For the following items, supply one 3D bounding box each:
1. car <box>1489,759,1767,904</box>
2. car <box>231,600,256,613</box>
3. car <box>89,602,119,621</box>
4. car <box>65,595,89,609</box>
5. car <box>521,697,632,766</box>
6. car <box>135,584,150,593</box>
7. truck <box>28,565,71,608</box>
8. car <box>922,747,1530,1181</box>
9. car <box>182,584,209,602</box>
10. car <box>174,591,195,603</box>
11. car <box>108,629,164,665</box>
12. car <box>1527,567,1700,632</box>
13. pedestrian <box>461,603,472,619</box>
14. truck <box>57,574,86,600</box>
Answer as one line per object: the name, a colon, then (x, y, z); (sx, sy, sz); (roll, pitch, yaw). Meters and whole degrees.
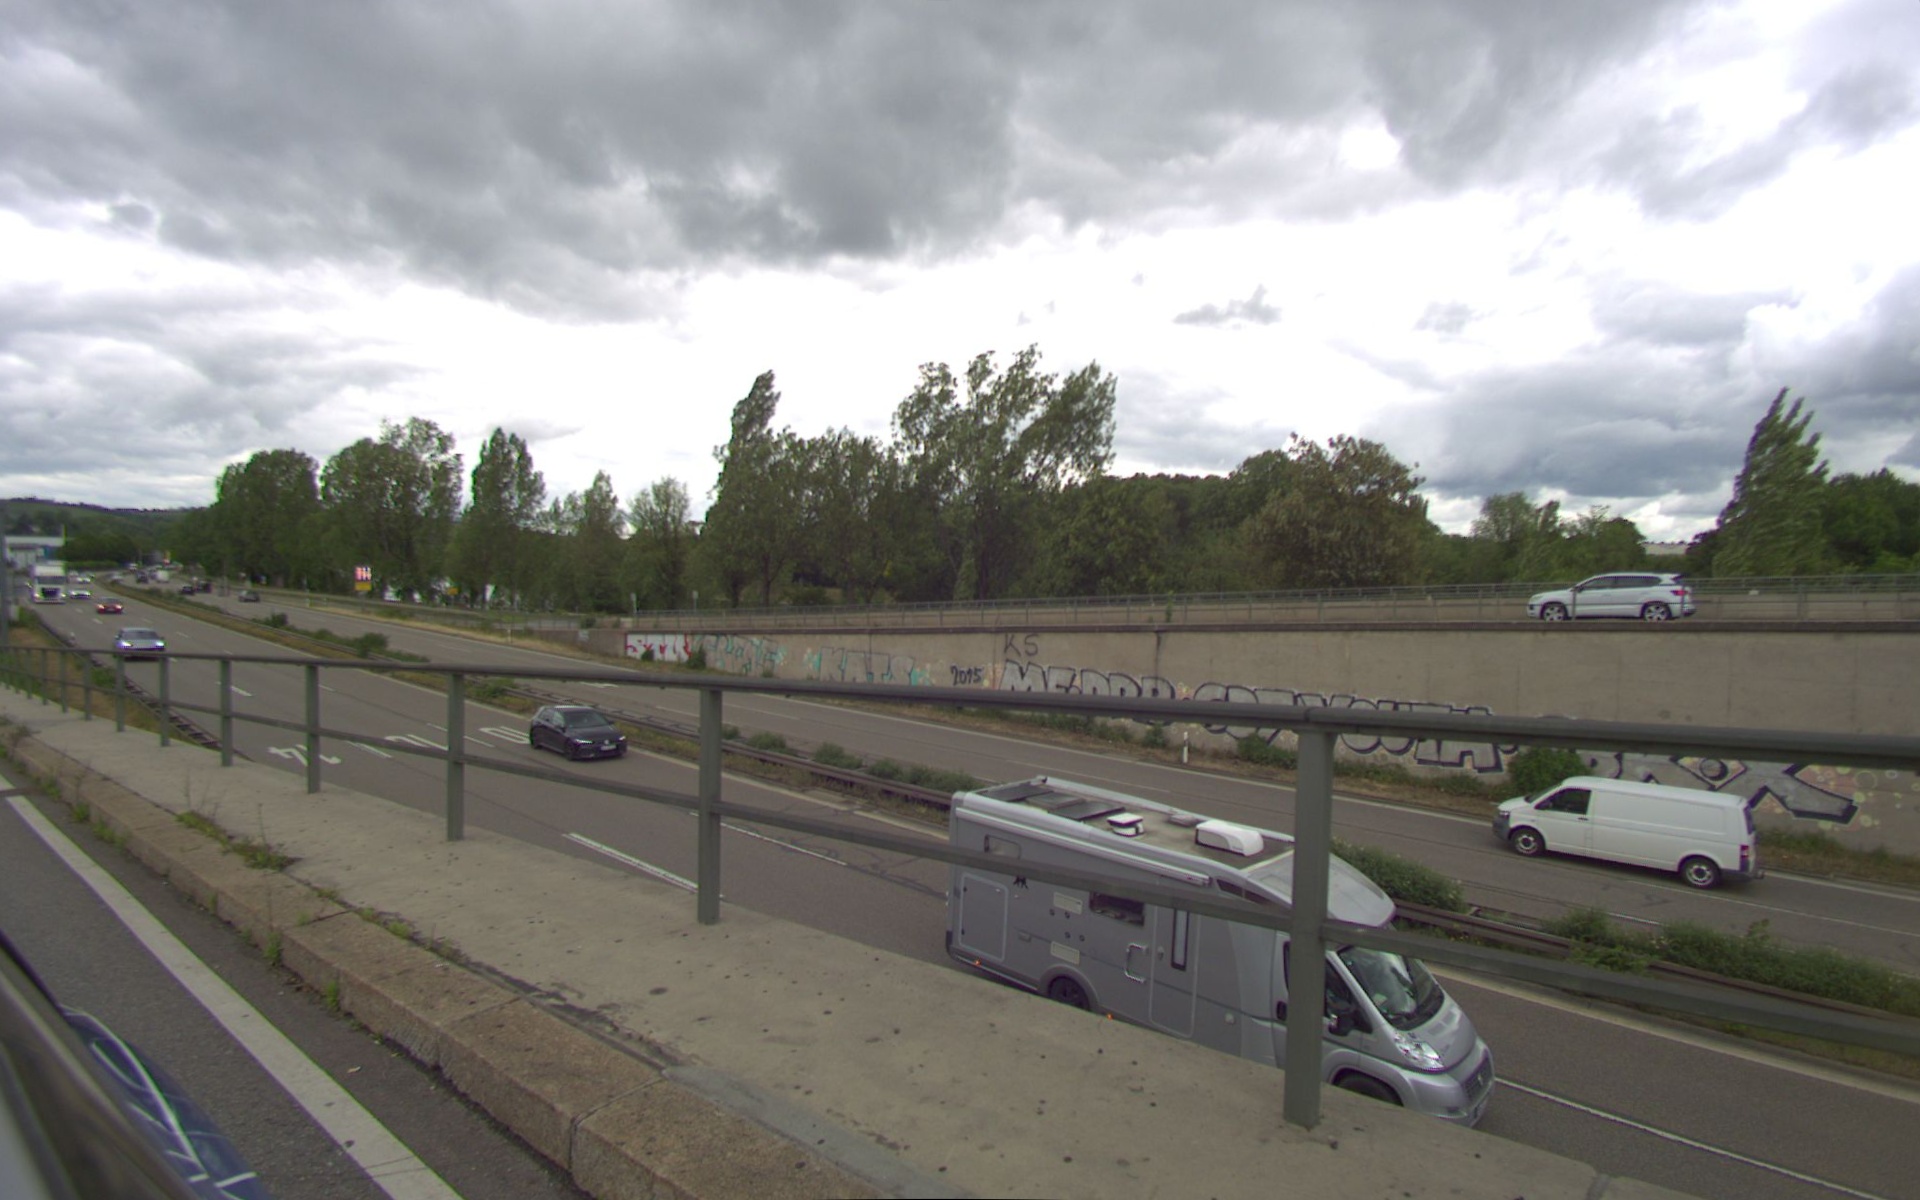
car: (15.541, 5.258, 23.756); (5.177, 2.082, 1.972); (2, 2, 42)
car: (-89.647, 0.775, 126.675); (4.111, 1.386, 1.692); (3, 1, 43)
car: (-79.020, 1.062, 93.365); (4.167, 1.451, 1.732); (5, 3, 44)
car: (-105.916, 0.226, 121.362); (4.279, 1.429, 1.894); (4, 3, 44)
car: (-12.564, 4.218, 33.015); (4.221, 1.581, 1.730); (3, 2, 43)
car: (-165.743, -2.392, 205.146); (4.334, 1.662, 1.877); (3, 1, 43)
truck: (-97.409, -1.460, 108.220); (6.698, 4.283, 2.721); (3, 1, 43)
car: (3.109, 4.191, 13.704); (7.658, 3.264, 2.336); (2, 0, 42)
car: (-117.921, -1.074, 156.014); (6.114, 2.566, 2.220); (2, 2, 42)
car: (-109.083, -0.432, 142.371); (3.859, 1.512, 1.645); (3, 1, 43)
car: (-45.534, 2.563, 55.897); (4.280, 1.813, 1.820); (-1, -1, 43)
car: (20.015, 0.018, 31.082); (4.211, 1.884, 1.973); (-1, -1, 41)
pedestrian: (-55.845, 1.255, 114.465); (1.078, 1.717, 0.820); (3, 3, 43)
truck: (-172.473, -2.517, 196.441); (11.130, 4.559, 3.136); (2, -3, 45)
